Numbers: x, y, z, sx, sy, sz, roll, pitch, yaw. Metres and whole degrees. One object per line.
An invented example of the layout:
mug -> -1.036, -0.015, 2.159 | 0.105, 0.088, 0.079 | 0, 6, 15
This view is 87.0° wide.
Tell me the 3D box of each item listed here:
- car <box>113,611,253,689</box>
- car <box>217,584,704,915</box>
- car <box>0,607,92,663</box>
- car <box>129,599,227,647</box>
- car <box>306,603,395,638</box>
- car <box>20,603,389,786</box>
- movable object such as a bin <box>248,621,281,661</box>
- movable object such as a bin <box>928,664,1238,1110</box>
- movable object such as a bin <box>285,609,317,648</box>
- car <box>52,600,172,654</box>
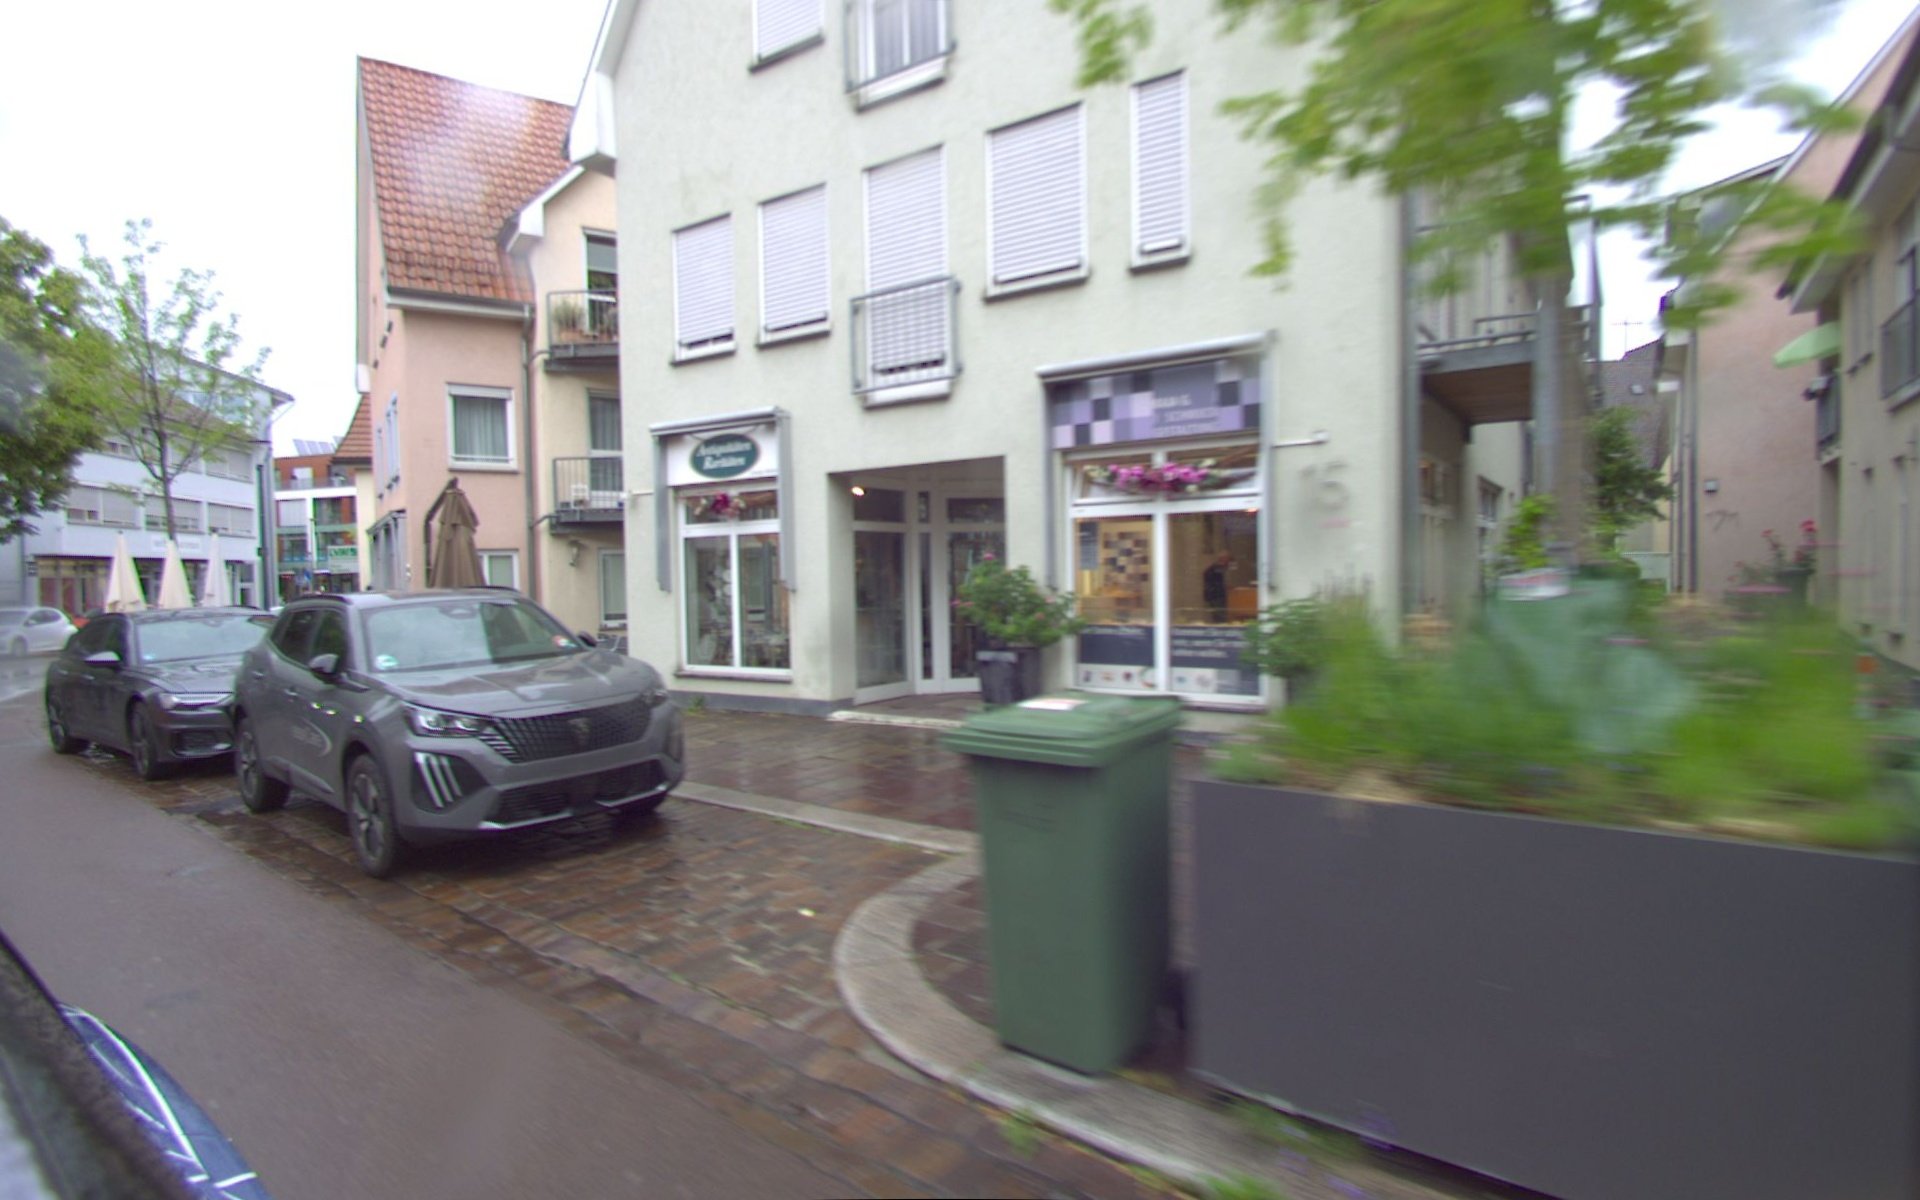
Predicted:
car -> -17.756, 1.067, 23.347 | 1.966, 1.465, 4.388 | -1, 1, -30
car -> -3.502, 0.684, 6.726 | 3.977, 1.557, 1.575 | 1, 1, 43
car -> -27.980, 1.012, 29.994 | 1.667, 1.551, 4.415 | -1, 0, -15
car -> -31.002, 0.865, 40.270 | 1.666, 1.702, 4.292 | -1, 1, -17
car -> -28.469, 0.937, 47.440 | 1.970, 1.464, 4.004 | 0, 1, -4
car -> -7.821, 0.799, 10.315 | 4.619, 1.443, 1.785 | -1, 0, 37
movable object such as a bin -> -20.285, 1.198, 29.537 | 0.650, 1.117, 0.626 | -1, 1, -21
movable object such as a bin -> 0.376, 0.778, 3.110 | 0.725, 1.087, 0.614 | 1, 1, 43
movable object such as a bin -> -19.446, 0.826, 29.879 | 0.650, 1.117, 0.626 | -1, 1, -21
car -> -29.374, 0.884, 35.202 | 1.667, 1.702, 3.969 | -1, 1, -15
